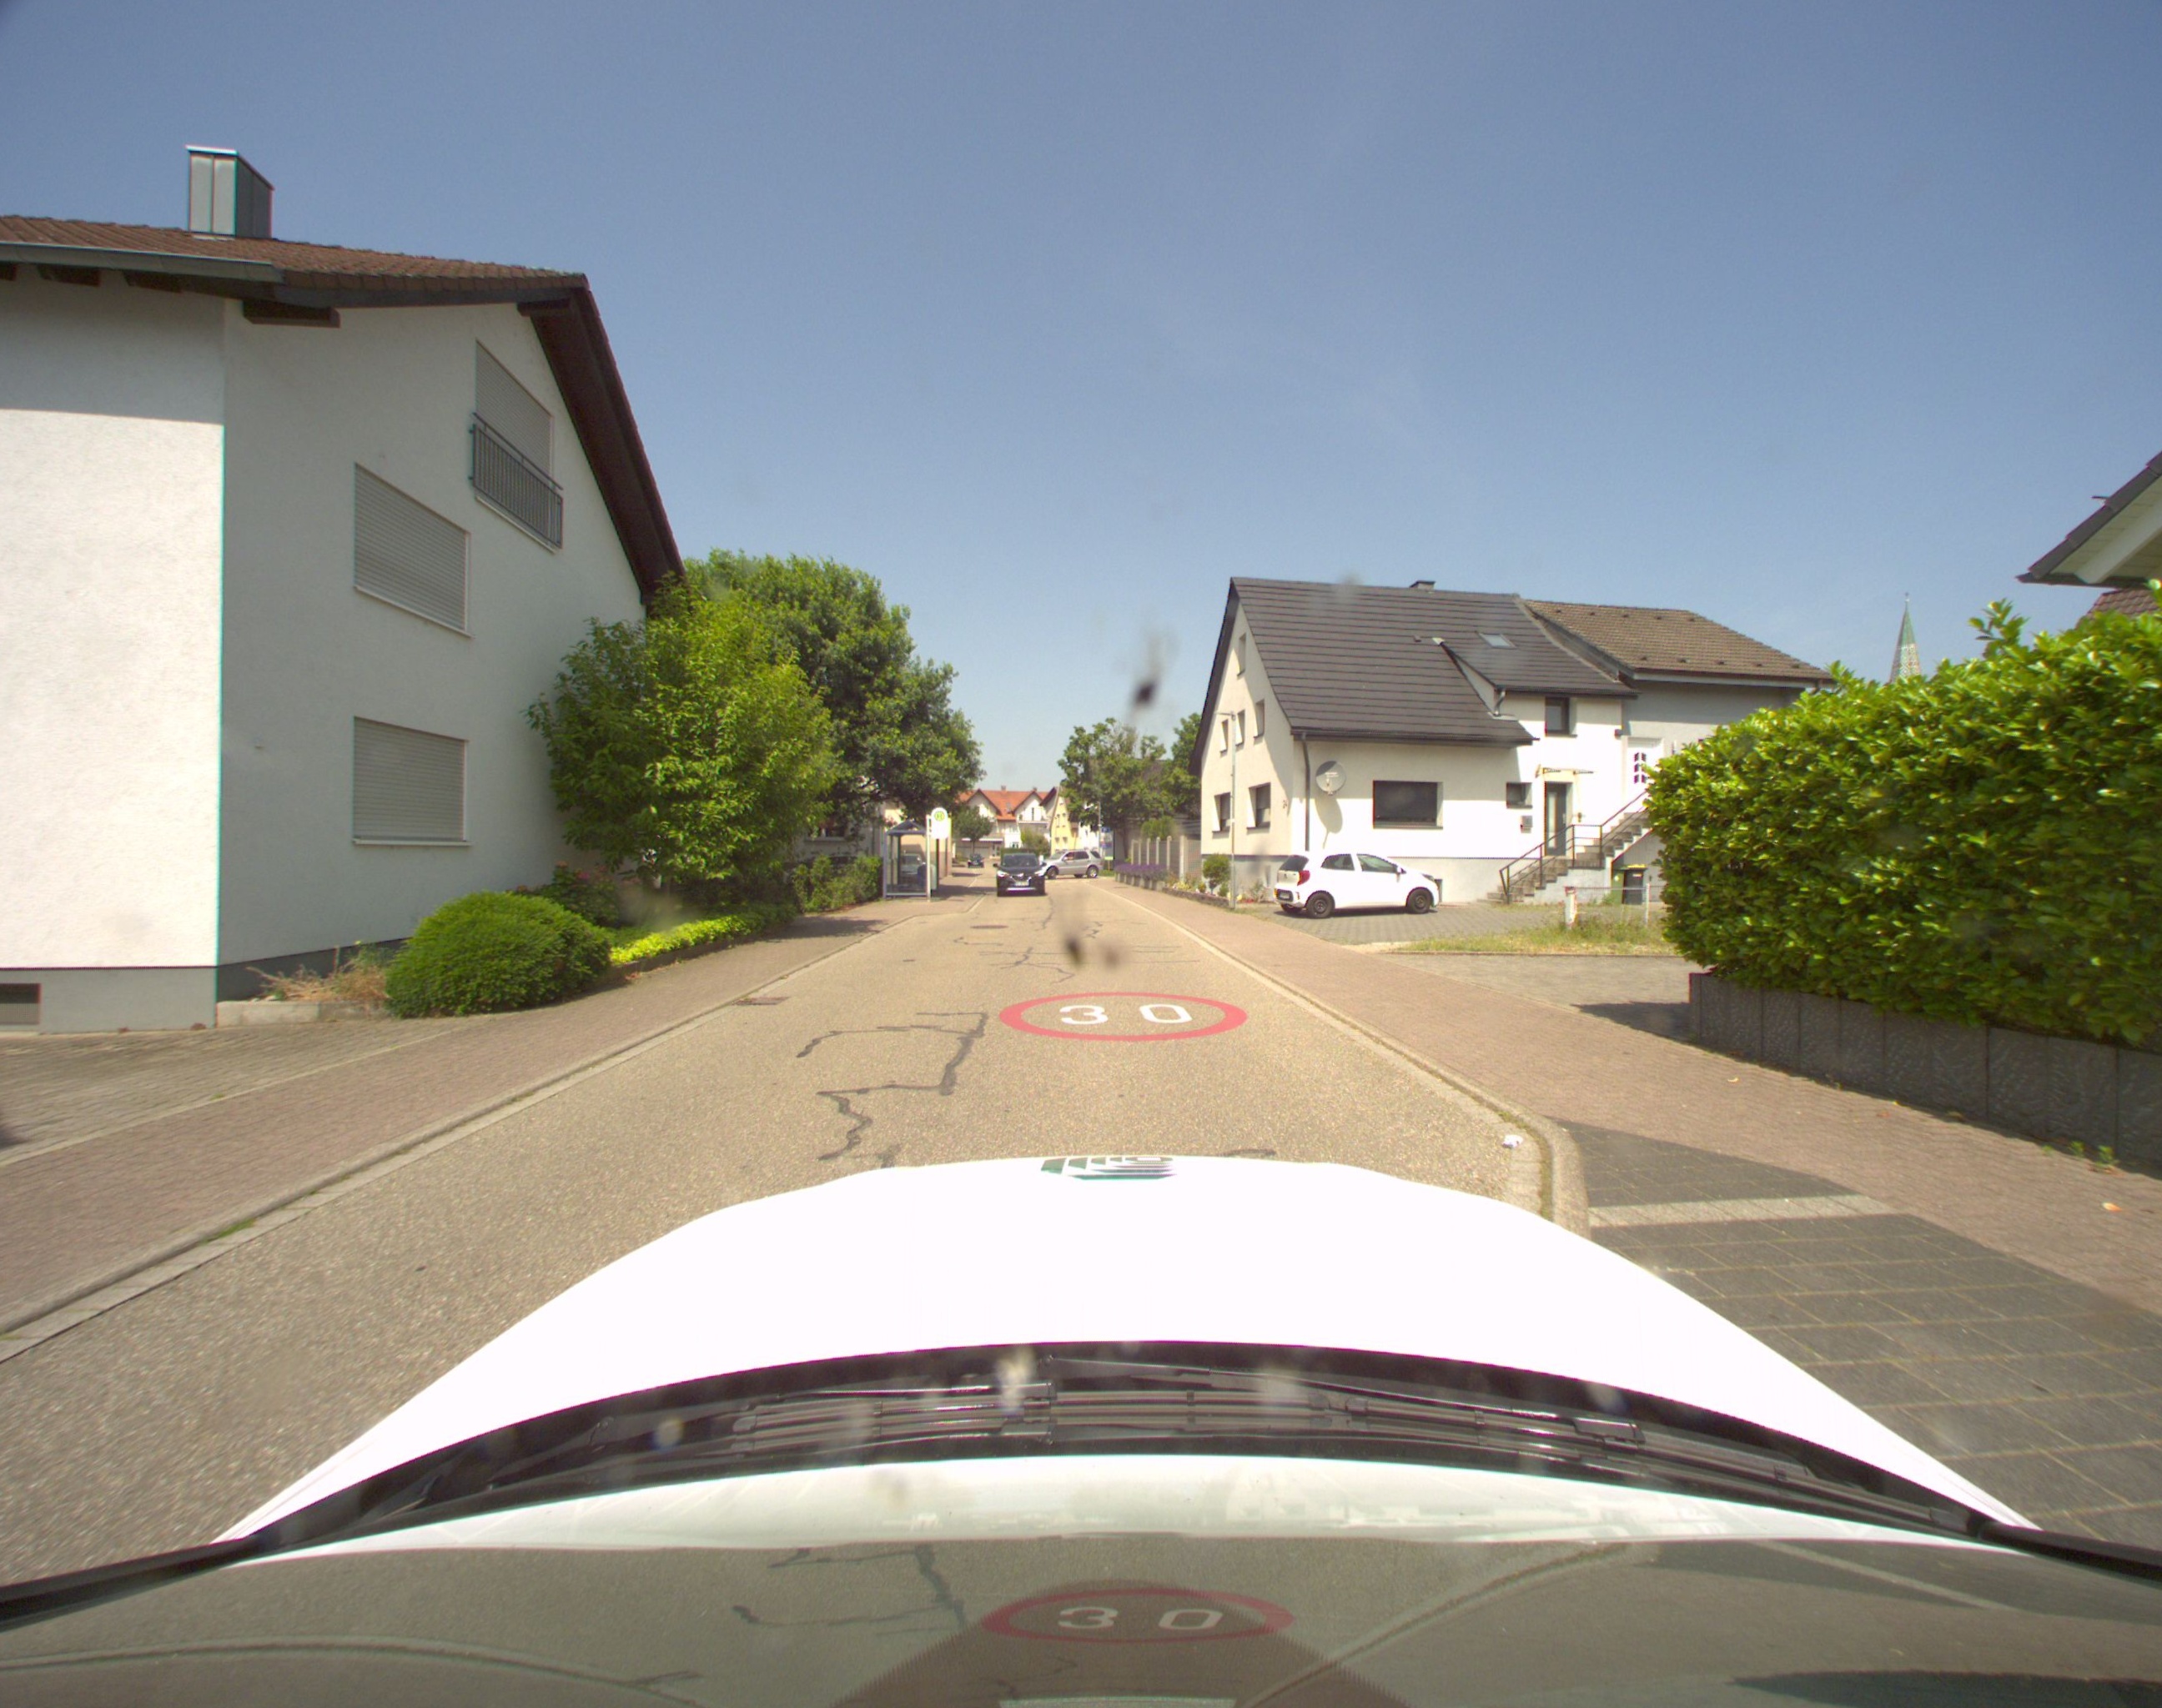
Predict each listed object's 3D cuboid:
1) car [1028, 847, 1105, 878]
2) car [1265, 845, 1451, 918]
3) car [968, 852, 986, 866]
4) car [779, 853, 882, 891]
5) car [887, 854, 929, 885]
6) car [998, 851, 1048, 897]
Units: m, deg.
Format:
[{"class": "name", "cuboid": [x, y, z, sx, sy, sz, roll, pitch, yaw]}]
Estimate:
[{"class": "car", "cuboid": [-0.868, 0.510, 49.443, 4.347, 1.766, 1.872, 0, 2, -33]}, {"class": "car", "cuboid": [6.286, 0.576, 18.684, 3.656, 1.474, 1.760, -2, 1, -9]}, {"class": "car", "cuboid": [-11.078, 0.515, 86.368, 1.627, 1.486, 3.986, -1, 0, -11]}, {"class": "car", "cuboid": [-11.224, 0.787, 36.718, 4.156, 1.538, 1.769, -2, 0, -7]}, {"class": "car", "cuboid": [-8.687, 0.745, 41.127, 1.777, 1.434, 4.045, 0, 0, -8]}, {"class": "car", "cuboid": [-2.214, 0.718, 31.372, 1.773, 1.623, 4.099, -1, 0, -4]}]
